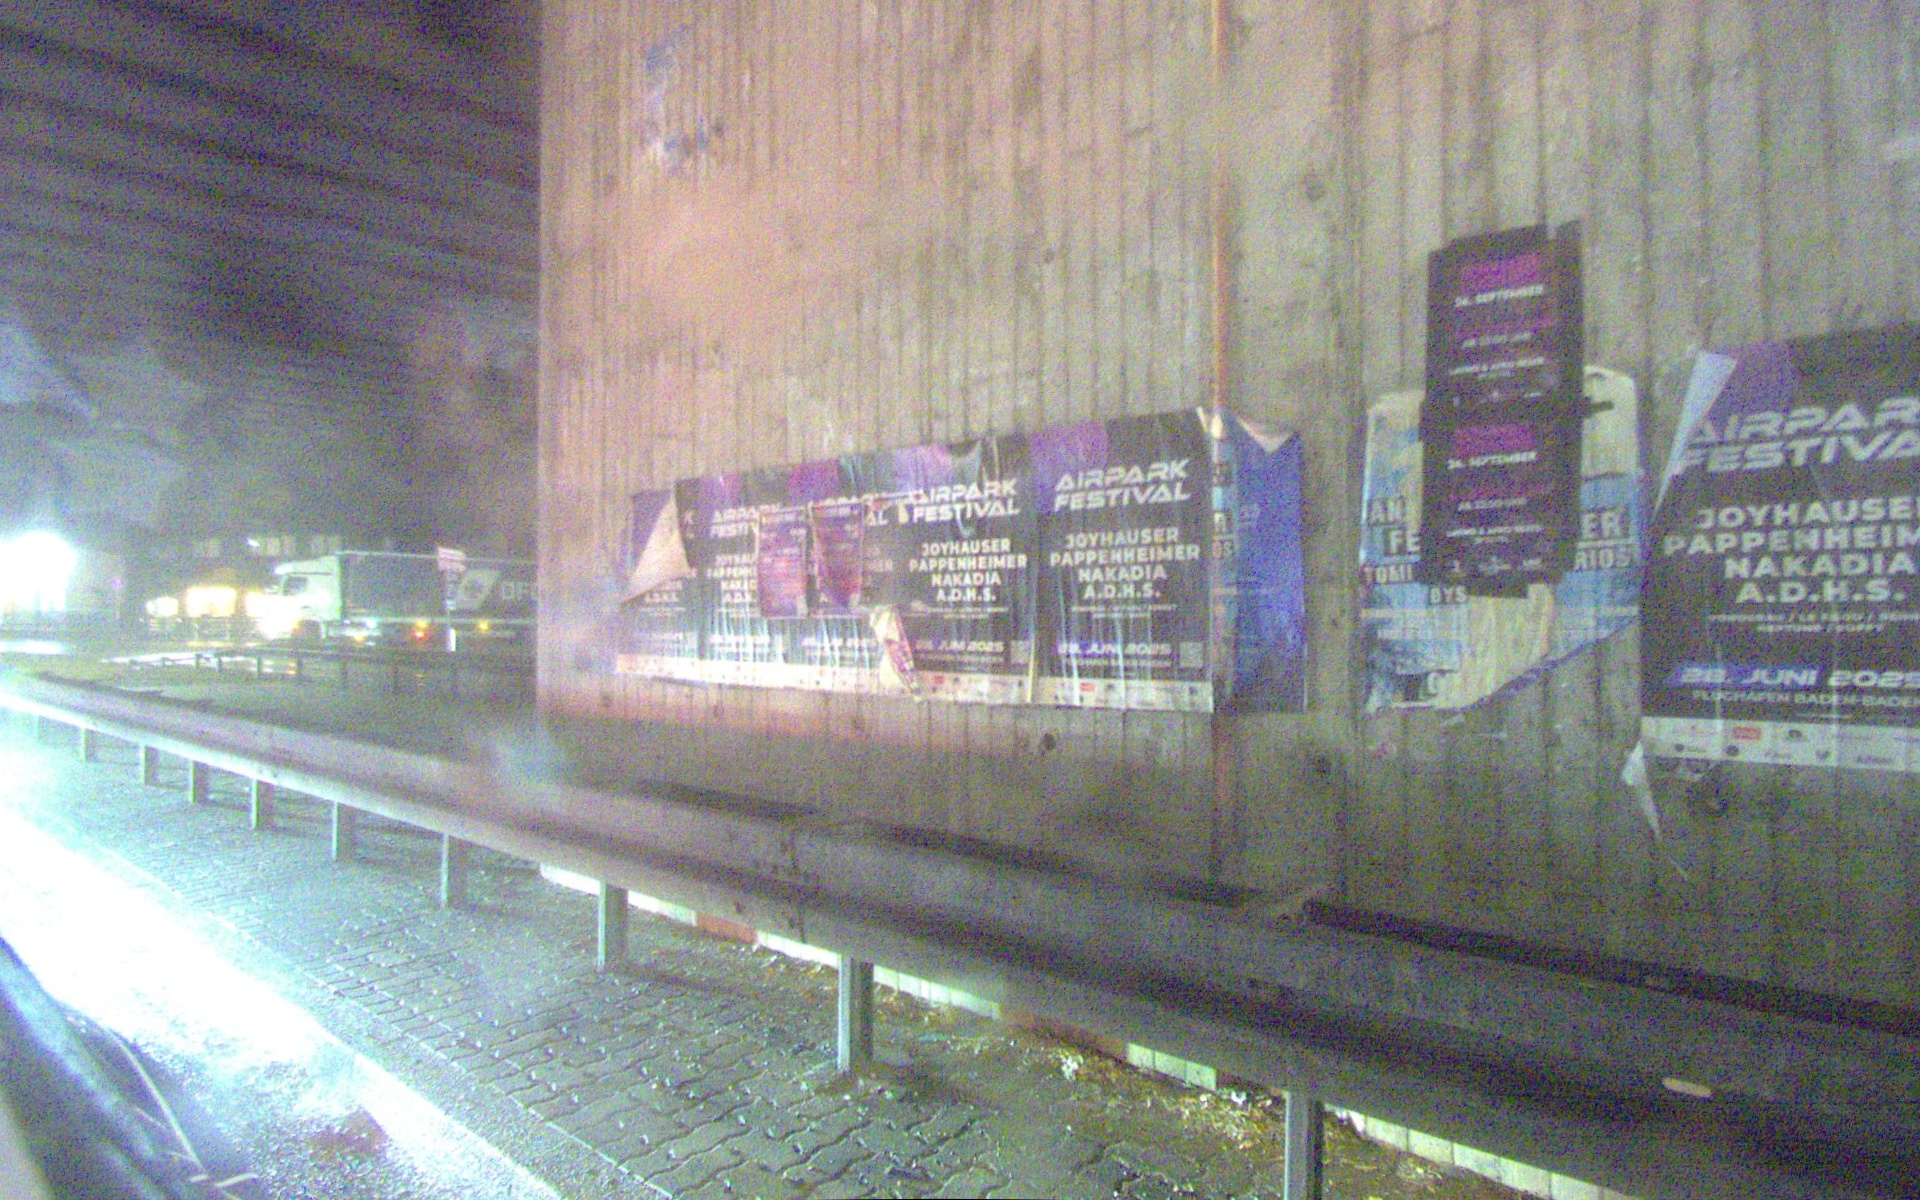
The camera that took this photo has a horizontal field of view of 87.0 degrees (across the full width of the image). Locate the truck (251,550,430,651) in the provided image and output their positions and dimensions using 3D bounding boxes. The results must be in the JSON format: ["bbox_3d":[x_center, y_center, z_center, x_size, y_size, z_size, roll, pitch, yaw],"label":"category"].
[{"bbox_3d":[-27.963,-0.012,45.781,6.278,4.208,3.975,-1,0,-42],"label":"truck"}]

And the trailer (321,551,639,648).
[{"bbox_3d":[-23.264,-0.078,50.150,13.711,4.208,3.973,-1,0,-44],"label":"trailer"}]
